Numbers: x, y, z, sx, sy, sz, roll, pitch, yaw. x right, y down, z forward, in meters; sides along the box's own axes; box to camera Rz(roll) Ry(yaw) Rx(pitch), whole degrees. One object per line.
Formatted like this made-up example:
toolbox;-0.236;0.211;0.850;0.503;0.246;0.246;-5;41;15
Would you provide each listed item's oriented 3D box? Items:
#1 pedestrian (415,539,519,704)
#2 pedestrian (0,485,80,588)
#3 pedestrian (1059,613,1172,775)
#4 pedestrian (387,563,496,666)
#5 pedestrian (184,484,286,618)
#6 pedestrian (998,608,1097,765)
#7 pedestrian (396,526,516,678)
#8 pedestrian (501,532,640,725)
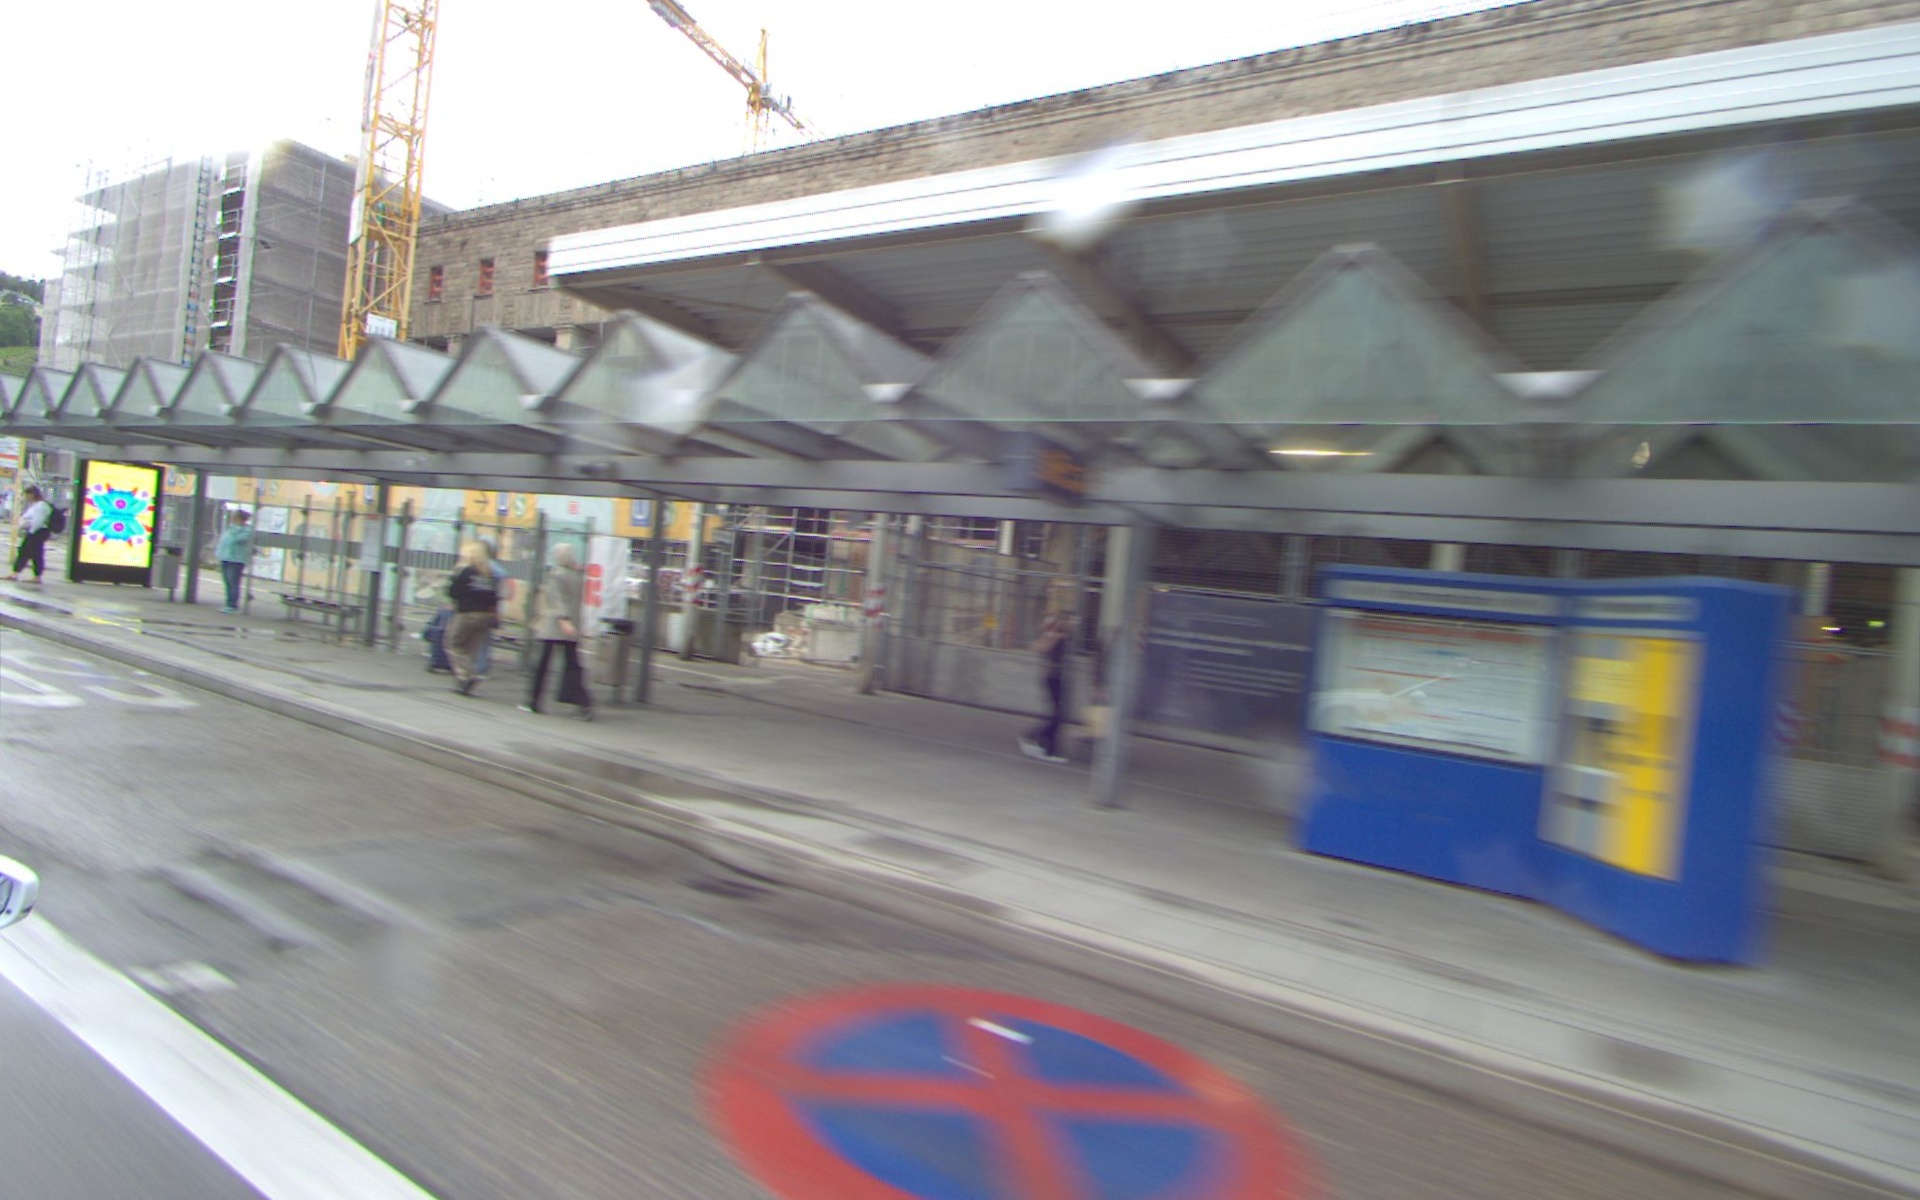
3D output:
pedestrian;-5.037;0.217;10.280;0.717;1.585;0.521;7;1;31
pedestrian;-16.383;-1.110;17.882;0.709;1.700;0.704;6;1;5
pedestrian;1.719;1.025;11.047;0.732;1.626;0.907;7;-1;32
pedestrian;-7.087;0.207;13.770;0.827;1.245;0.915;7;-1;32
pedestrian;-12.088;-0.798;16.815;0.911;2.075;0.803;7;0;-8
pedestrian;0.985;0.949;11.279;0.717;1.628;0.707;7;1;31
pedestrian;-6.009;0.032;12.008;0.791;1.680;0.809;7;-1;31
pedestrian;-3.750;0.273;9.695;0.808;1.714;0.763;7;1;31
